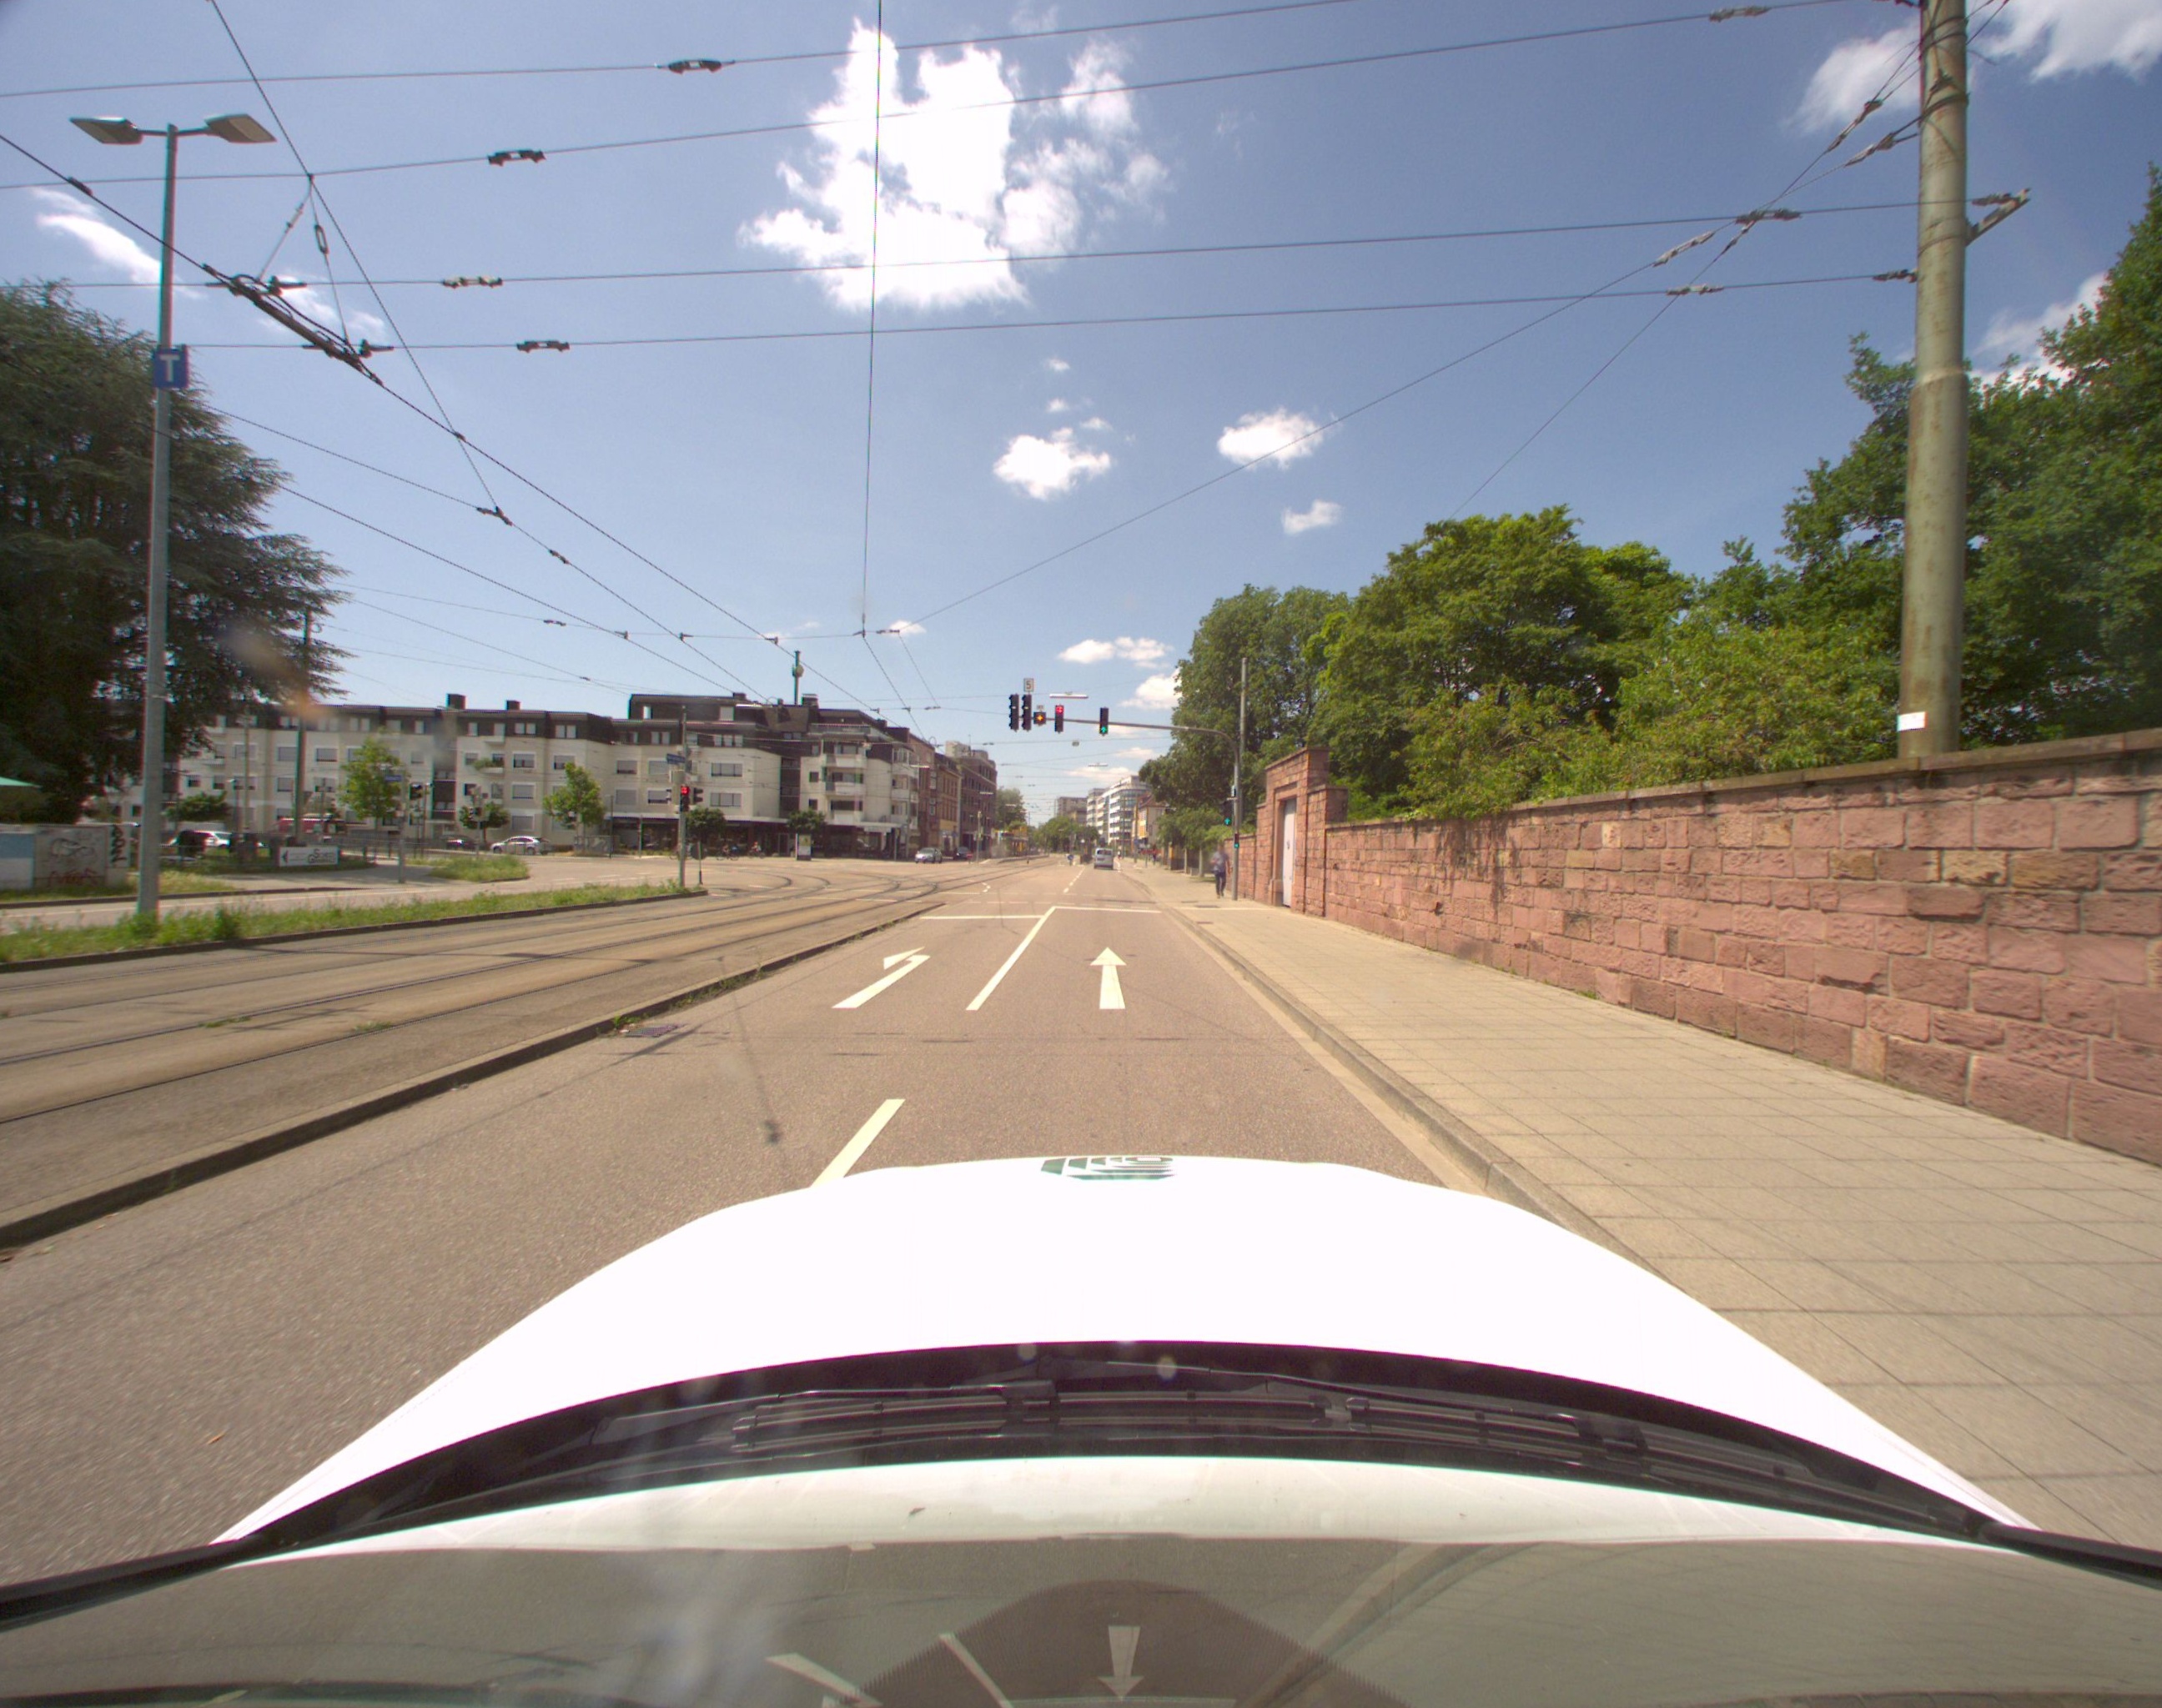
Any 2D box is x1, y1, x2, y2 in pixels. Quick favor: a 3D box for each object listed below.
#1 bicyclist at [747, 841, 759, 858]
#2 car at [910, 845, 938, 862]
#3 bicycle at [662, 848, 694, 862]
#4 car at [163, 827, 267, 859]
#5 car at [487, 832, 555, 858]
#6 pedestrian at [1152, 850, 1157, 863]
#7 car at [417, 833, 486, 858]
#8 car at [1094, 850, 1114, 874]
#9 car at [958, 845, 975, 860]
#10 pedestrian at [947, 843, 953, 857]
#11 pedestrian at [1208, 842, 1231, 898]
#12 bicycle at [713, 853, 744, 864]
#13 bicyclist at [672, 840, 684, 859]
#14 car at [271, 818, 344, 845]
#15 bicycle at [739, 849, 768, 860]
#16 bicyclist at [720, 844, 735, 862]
[{"bbox_3d":[-28.666,-0.376,71.086,0.852,1.468,0.649,0,-1,-35],"label":"bicyclist"},{"bbox_3d":[-14.716,-0.049,76.453,1.989,1.471,4.396,1,0,-4],"label":"car"},{"bbox_3d":[-32.092,0.094,64.914,2.260,1.101,0.513,0,-1,-24],"label":"bicycle"},{"bbox_3d":[-48.171,-0.607,45.353,3.826,1.725,1.901,0,-1,2],"label":"car"},{"bbox_3d":[-44.456,-0.723,64.686,3.974,1.912,2.000,1,0,0],"label":"car"},{"bbox_3d":[8.678,0.319,95.797,0.574,1.556,0.787,0,-1,4],"label":"pedestrian"},{"bbox_3d":[-50.776,-0.665,65.721,3.974,2.014,1.999,0,-1,0],"label":"car"},{"bbox_3d":[2.055,0.713,72.771,1.746,2.013,4.001,1,1,1],"label":"car"},{"bbox_3d":[-14.061,-0.222,100.182,1.720,1.683,4.274,2,1,-4],"label":"car"},{"bbox_3d":[-19.109,-0.642,118.491,0.615,2.014,0.810,3,-1,-1],"label":"pedestrian"},{"bbox_3d":[4.601,0.530,27.100,0.711,1.852,0.769,-1,-1,8],"label":"pedestrian"},{"bbox_3d":[-28.571,0.334,66.048,2.267,0.881,0.414,0,-1,-36],"label":"bicycle"},{"bbox_3d":[-32.120,-0.358,64.894,0.855,1.487,0.731,0,-1,-24],"label":"bicyclist"},{"bbox_3d":[-61.586,-1.782,64.892,3.970,2.013,2.002,1,0,3],"label":"car"},{"bbox_3d":[-28.629,0.058,71.128,2.267,0.935,0.664,0,-1,-36],"label":"bicycle"},{"bbox_3d":[-28.651,-0.058,65.999,0.968,1.423,0.624,0,-1,-35],"label":"bicyclist"}]
